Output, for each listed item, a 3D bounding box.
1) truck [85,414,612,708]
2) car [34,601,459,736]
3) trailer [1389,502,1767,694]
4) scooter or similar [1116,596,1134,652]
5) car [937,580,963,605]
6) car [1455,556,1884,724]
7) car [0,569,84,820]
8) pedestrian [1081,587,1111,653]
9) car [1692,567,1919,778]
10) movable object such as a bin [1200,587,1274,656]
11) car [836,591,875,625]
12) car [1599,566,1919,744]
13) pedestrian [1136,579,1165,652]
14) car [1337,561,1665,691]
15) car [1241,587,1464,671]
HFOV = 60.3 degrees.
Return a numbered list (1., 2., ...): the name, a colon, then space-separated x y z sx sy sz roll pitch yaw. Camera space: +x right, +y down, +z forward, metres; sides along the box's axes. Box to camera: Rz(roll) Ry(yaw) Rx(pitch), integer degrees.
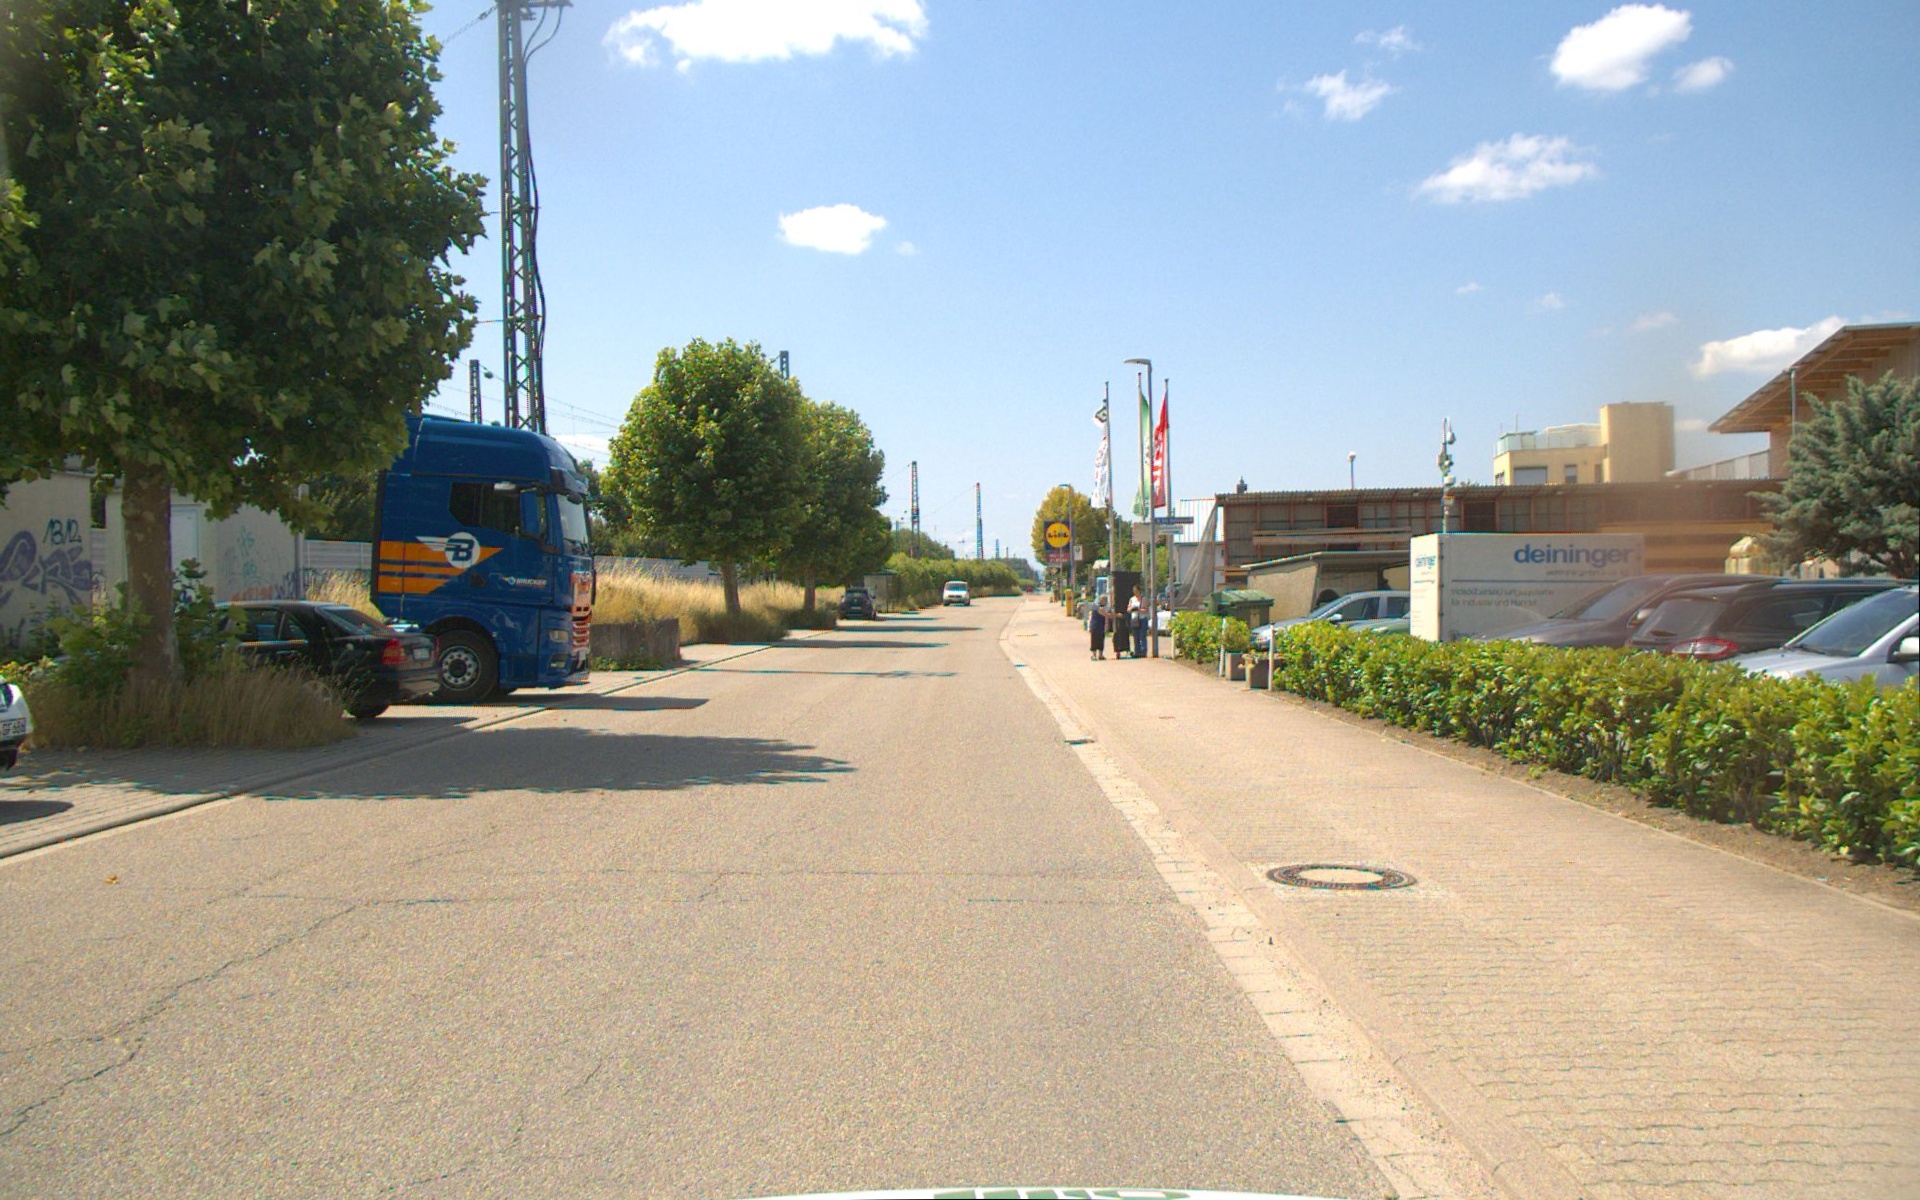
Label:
1. truck: -8.486 -0.545 23.561 6.480 3.890 2.663 -1 0 -1
2. car: -8.205 0.761 19.322 4.123 1.419 1.871 -1 0 -2
3. trailer: 7.704 0.033 20.950 3.905 2.049 2.000 -4 -4 1
4. scooter or similar: 3.648 0.540 36.572 0.327 1.219 0.398 -2 -2 1
5. car: -0.747 -0.586 126.757 1.800 1.890 4.485 -1 1 1
6. car: 7.721 0.434 18.219 3.955 1.602 1.712 -2 -2 -5
7. car: -8.263 0.665 10.943 3.891 1.646 1.850 -1 1 -3
8. pedestrian: 3.008 0.456 36.610 0.582 1.430 0.584 -2 -2 0
9. car: 7.479 0.465 12.313 3.282 1.426 1.771 -2 0 4
10. movable object such as a bin: 6.083 0.454 36.303 1.254 1.484 1.035 0 1 -37
11. car: -5.196 0.371 82.491 1.706 1.624 3.580 -1 1 0
12. car: 8.287 0.432 14.885 4.385 1.465 1.814 -1 0 -3
13. pedestrian: 4.193 0.348 36.476 0.524 1.567 0.510 -2 -2 0
14. car: 7.789 0.385 24.093 4.127 1.662 1.800 -2 -2 -1
15. car: 7.269 0.518 30.895 3.766 1.481 1.818 -1 0 1
